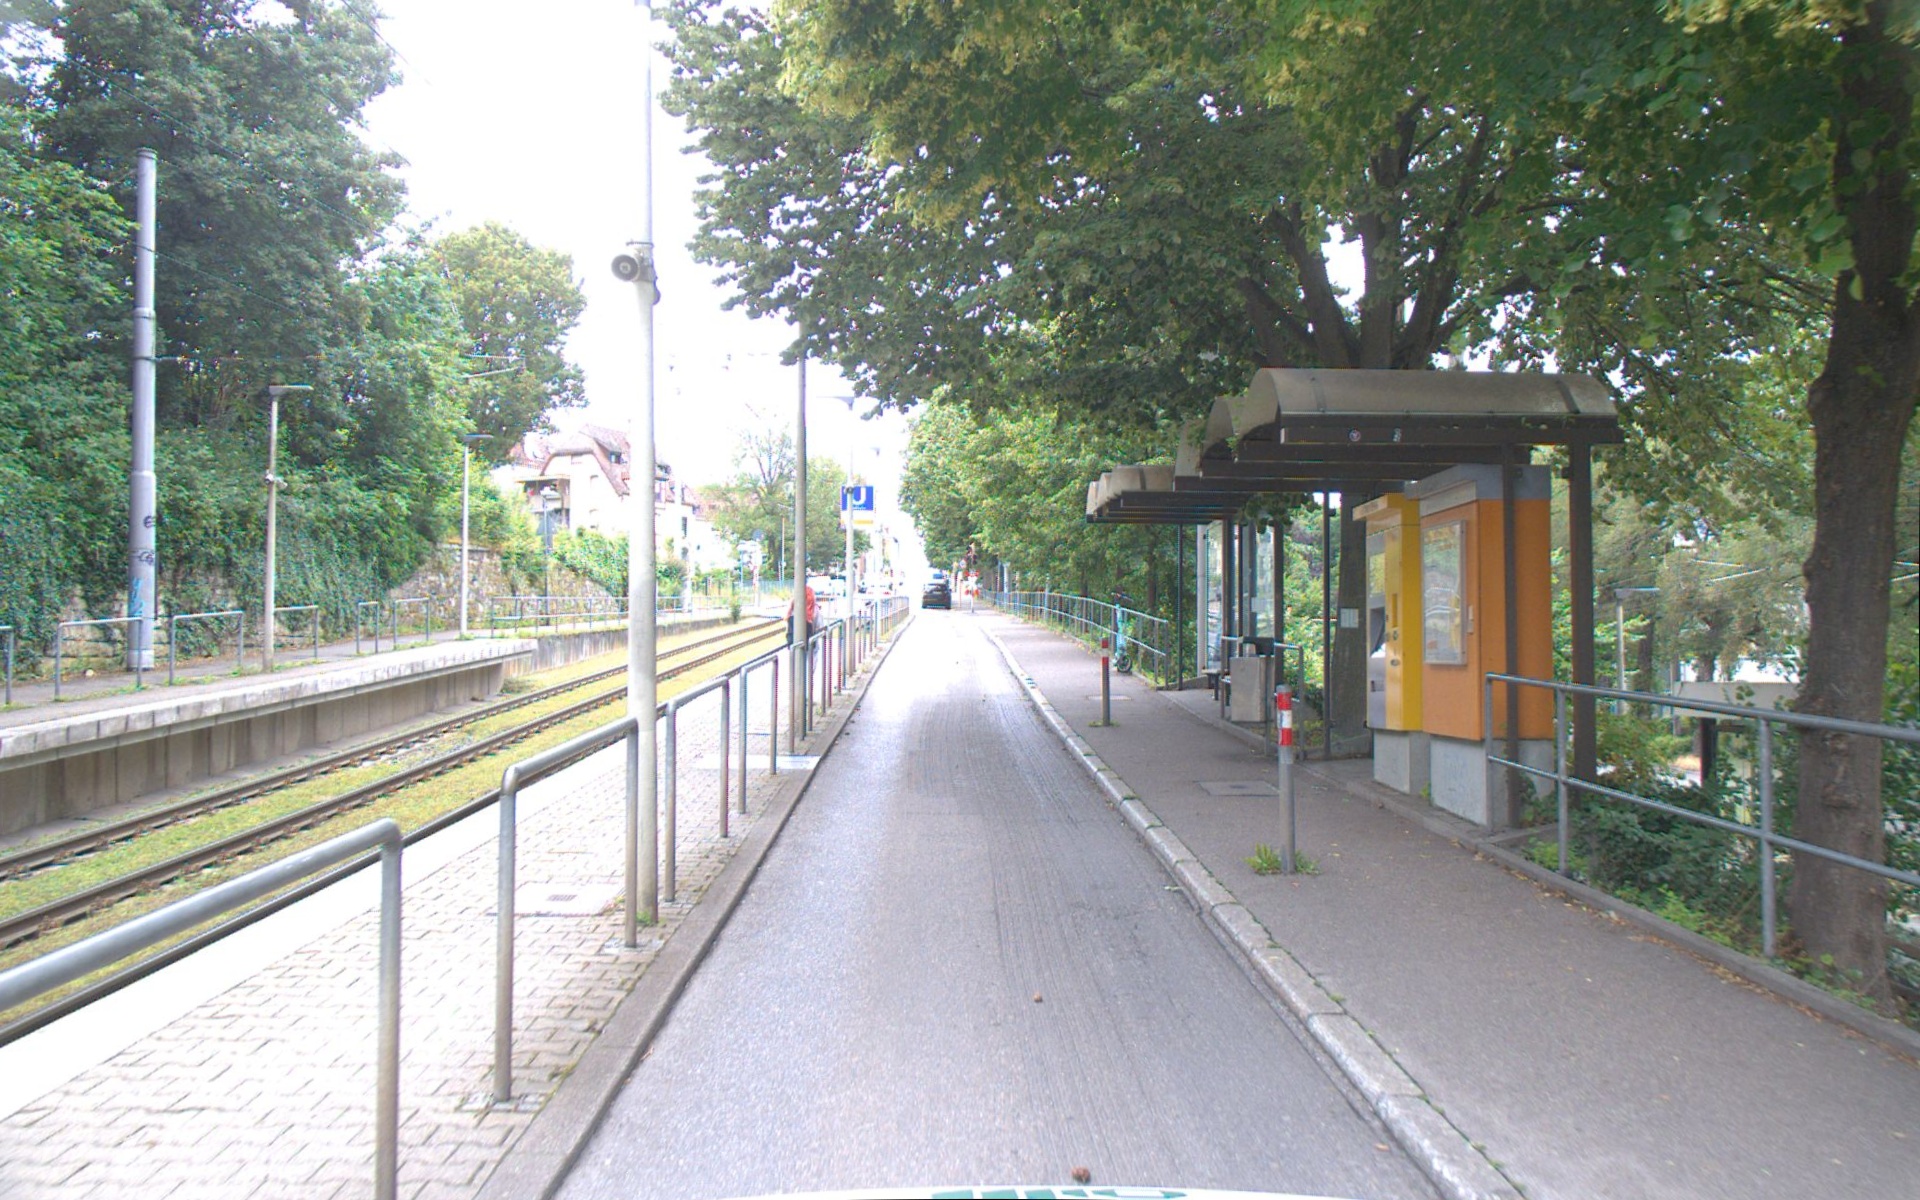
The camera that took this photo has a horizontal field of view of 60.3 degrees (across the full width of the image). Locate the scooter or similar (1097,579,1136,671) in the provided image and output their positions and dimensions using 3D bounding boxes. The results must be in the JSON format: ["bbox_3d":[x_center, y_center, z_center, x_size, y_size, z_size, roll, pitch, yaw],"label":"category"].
[{"bbox_3d":[2.469,0.391,26.180,0.421,1.409,1.455,1,0,-1],"label":"scooter or similar"}]

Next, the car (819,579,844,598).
[{"bbox_3d":[-11.098,-1.000,142.868,1.846,1.552,4.663,-1,0,-1],"label":"car"}]

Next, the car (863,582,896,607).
[{"bbox_3d":[-5.112,-0.313,105.987,1.953,1.525,4.311,1,0,-1],"label":"car"}]

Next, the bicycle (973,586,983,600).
[{"bbox_3d":[1.308,-0.505,122.443,0.419,0.993,1.790,1,0,-10],"label":"bicycle"}]

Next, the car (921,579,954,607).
[{"bbox_3d":[-1.389,-0.446,103.029,1.865,1.643,4.600,2,1,1],"label":"car"}]

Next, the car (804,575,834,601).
[{"bbox_3d":[-10.933,-0.922,128.554,1.995,1.914,4.883,-2,0,-2],"label":"car"}]

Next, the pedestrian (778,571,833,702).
[{"bbox_3d":[-1.849,0.427,19.870,0.612,1.528,0.739,1,1,-4],"label":"pedestrian"}]
